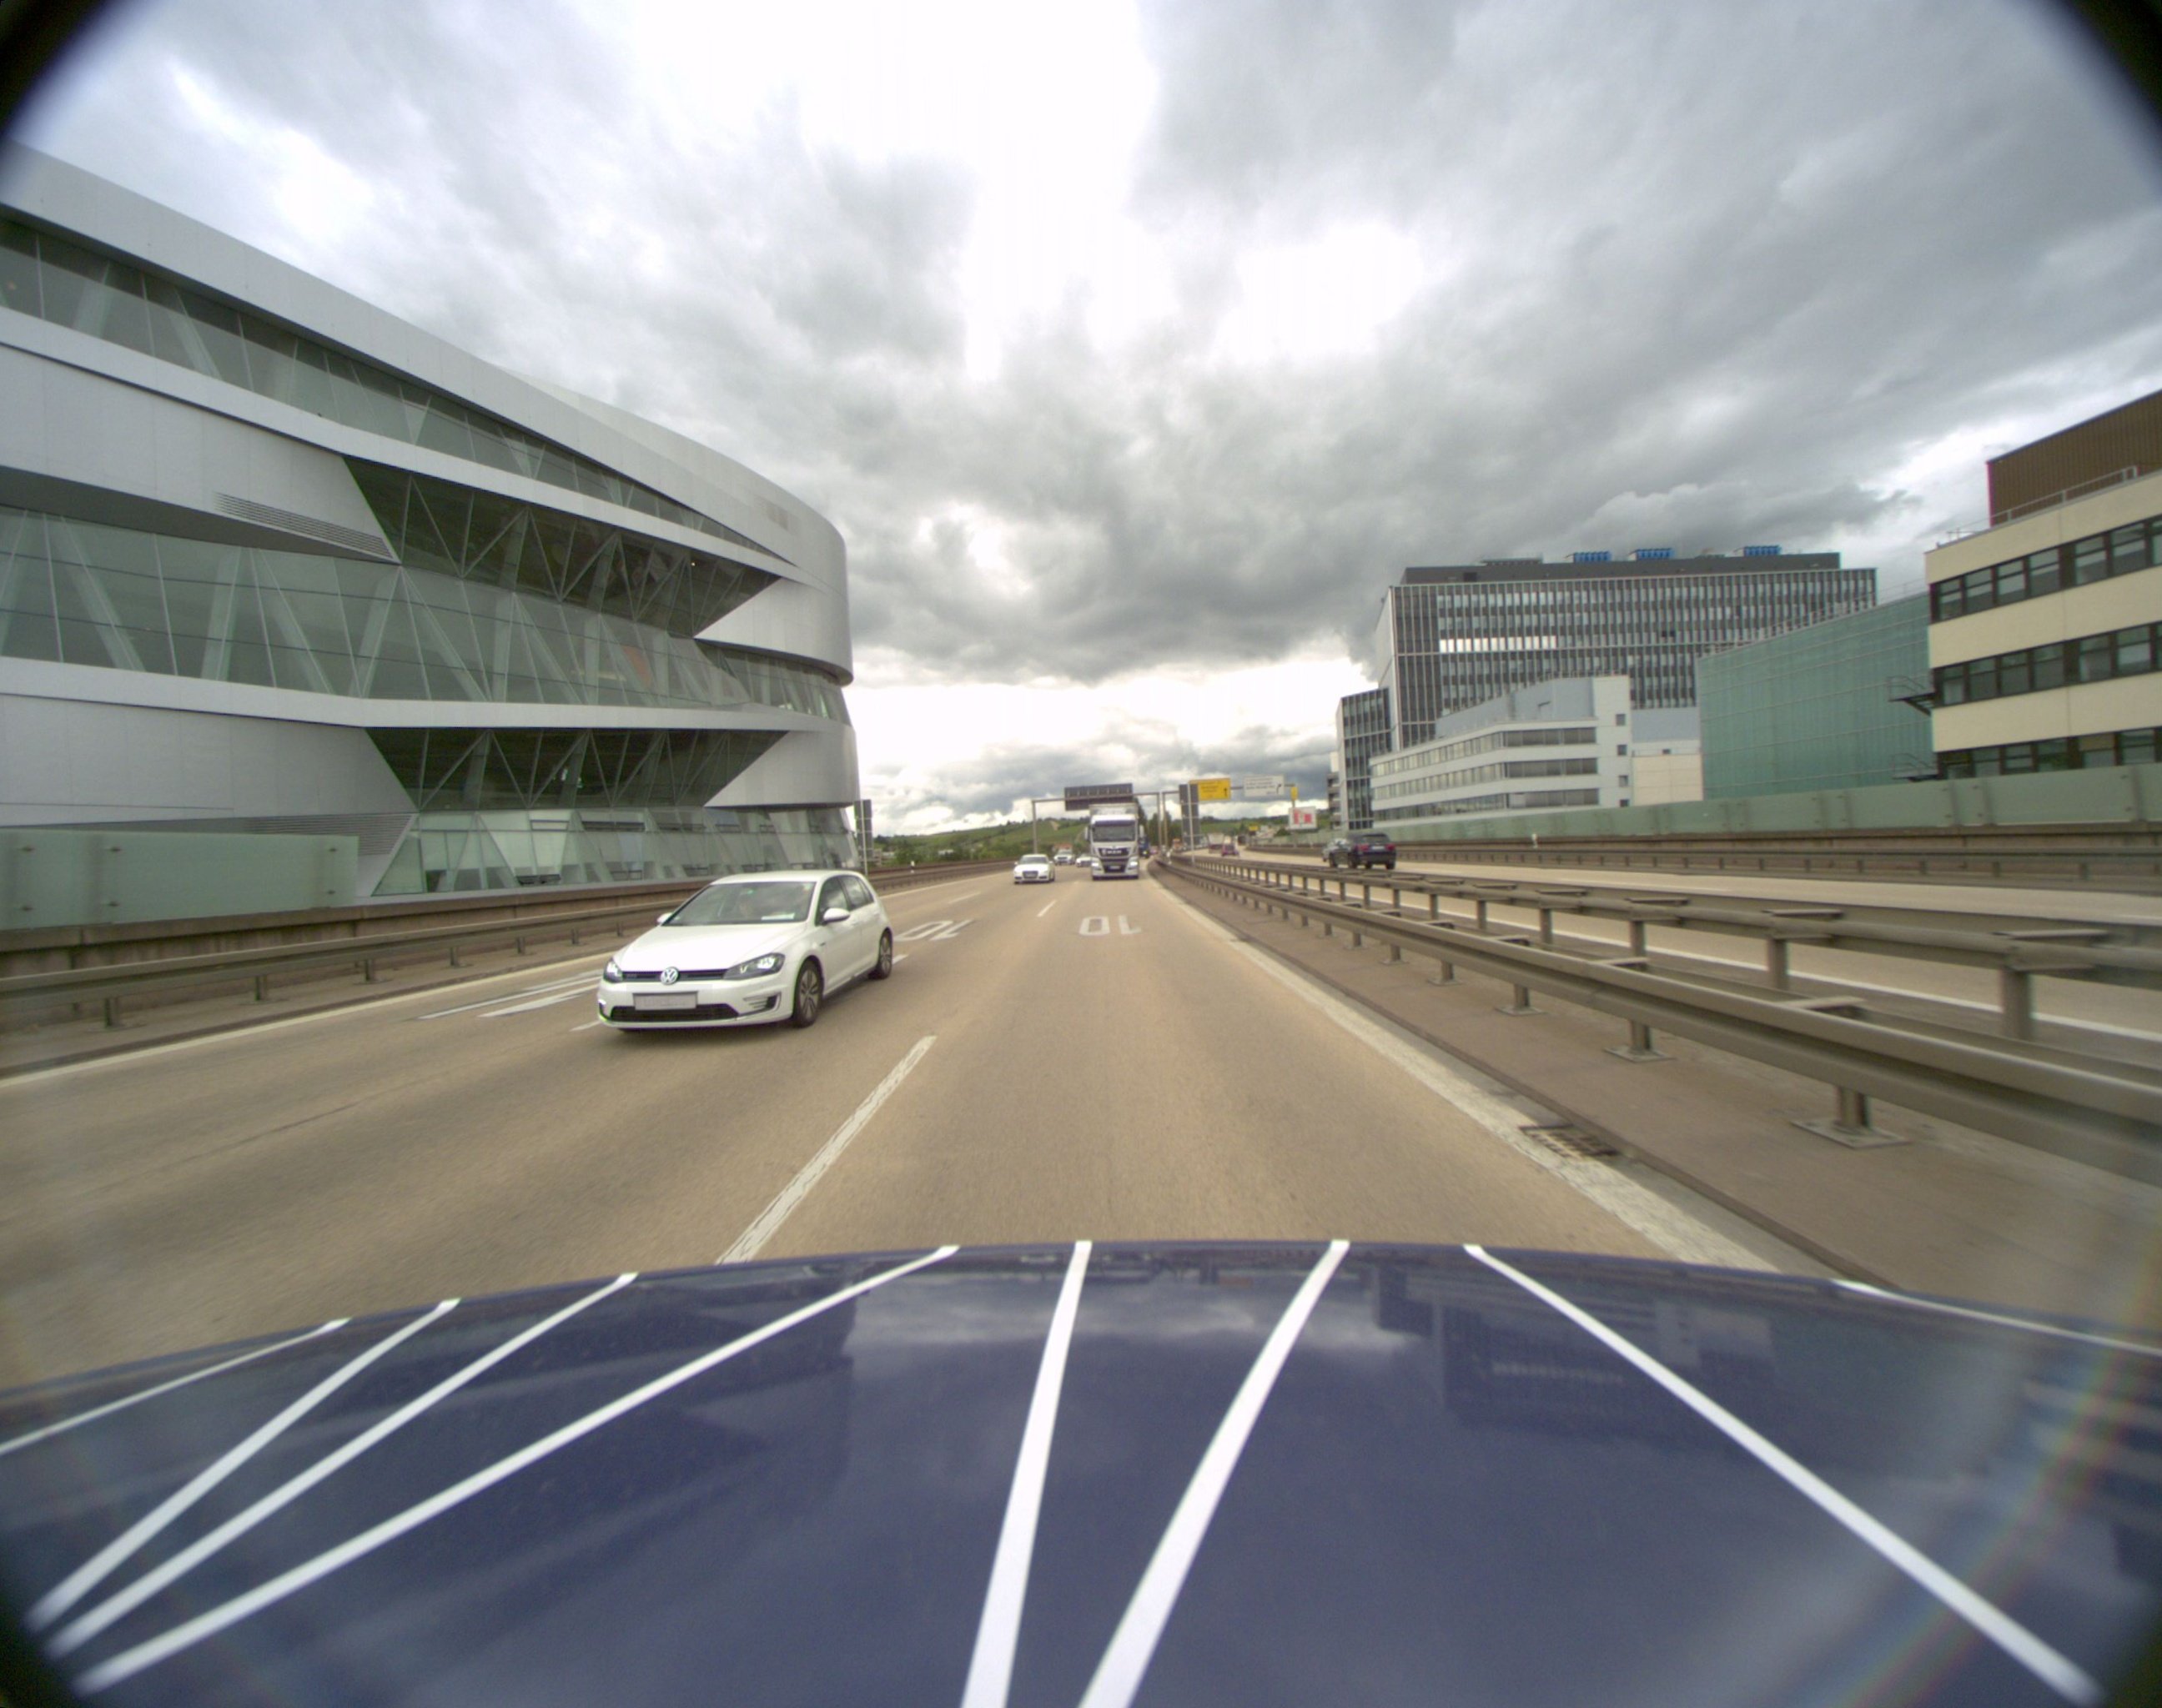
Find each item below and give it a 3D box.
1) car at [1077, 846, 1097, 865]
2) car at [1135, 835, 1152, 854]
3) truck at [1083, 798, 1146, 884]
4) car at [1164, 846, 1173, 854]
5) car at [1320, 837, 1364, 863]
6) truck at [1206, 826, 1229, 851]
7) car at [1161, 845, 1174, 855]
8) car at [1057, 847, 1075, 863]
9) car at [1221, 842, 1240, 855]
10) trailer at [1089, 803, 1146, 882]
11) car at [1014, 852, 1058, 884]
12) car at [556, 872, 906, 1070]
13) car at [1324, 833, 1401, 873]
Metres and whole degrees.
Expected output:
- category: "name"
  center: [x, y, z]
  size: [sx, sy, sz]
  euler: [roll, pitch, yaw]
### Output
- category: "car"
  center: [0.571, 0.118, 72.088]
  size: [1.765, 1.624, 3.627]
  euler: [-2, 1, 0]
- category: "car"
  center: [8.722, -1.368, 105.577]
  size: [2.143, 2.494, 4.525]
  euler: [-2, 1, 5]
- category: "truck"
  center: [1.914, -0.677, 40.496]
  size: [2.945, 4.136, 6.292]
  euler: [-2, 1, 5]
- category: "car"
  center: [21.956, -0.983, 190.605]
  size: [1.997, 2.002, 4.002]
  euler: [-2, 1, 10]
- category: "car"
  center: [16.765, -0.279, 48.991]
  size: [1.687, 1.588, 3.685]
  euler: [-2, 1, 2]
- category: "truck"
  center: [22.817, -2.571, 127.243]
  size: [3.268, 3.836, 13.059]
  euler: [-3, 1, 9]
- category: "car"
  center: [18.533, -0.908, 162.541]
  size: [1.996, 2.002, 4.003]
  euler: [-2, 1, 14]
- category: "car"
  center: [-1.571, 0.047, 82.626]
  size: [1.785, 1.624, 3.627]
  euler: [-2, 1, 0]
- category: "car"
  center: [17.292, -0.641, 87.921]
  size: [1.758, 1.474, 4.093]
  euler: [-2, 1, 6]
- category: "trailer"
  center: [2.377, -0.677, 45.948]
  size: [2.879, 4.104, 11.222]
  euler: [-2, 1, 5]
- category: "car"
  center: [-2.231, 0.656, 38.523]
  size: [1.848, 1.443, 3.932]
  euler: [-2, 1, 2]
- category: "car"
  center: [-3.336, 1.009, 8.246]
  size: [1.758, 1.443, 4.072]
  euler: [-2, 1, 2]
- category: "car"
  center: [12.514, -0.061, 34.107]
  size: [1.758, 1.609, 4.814]
  euler: [-2, 1, 2]
